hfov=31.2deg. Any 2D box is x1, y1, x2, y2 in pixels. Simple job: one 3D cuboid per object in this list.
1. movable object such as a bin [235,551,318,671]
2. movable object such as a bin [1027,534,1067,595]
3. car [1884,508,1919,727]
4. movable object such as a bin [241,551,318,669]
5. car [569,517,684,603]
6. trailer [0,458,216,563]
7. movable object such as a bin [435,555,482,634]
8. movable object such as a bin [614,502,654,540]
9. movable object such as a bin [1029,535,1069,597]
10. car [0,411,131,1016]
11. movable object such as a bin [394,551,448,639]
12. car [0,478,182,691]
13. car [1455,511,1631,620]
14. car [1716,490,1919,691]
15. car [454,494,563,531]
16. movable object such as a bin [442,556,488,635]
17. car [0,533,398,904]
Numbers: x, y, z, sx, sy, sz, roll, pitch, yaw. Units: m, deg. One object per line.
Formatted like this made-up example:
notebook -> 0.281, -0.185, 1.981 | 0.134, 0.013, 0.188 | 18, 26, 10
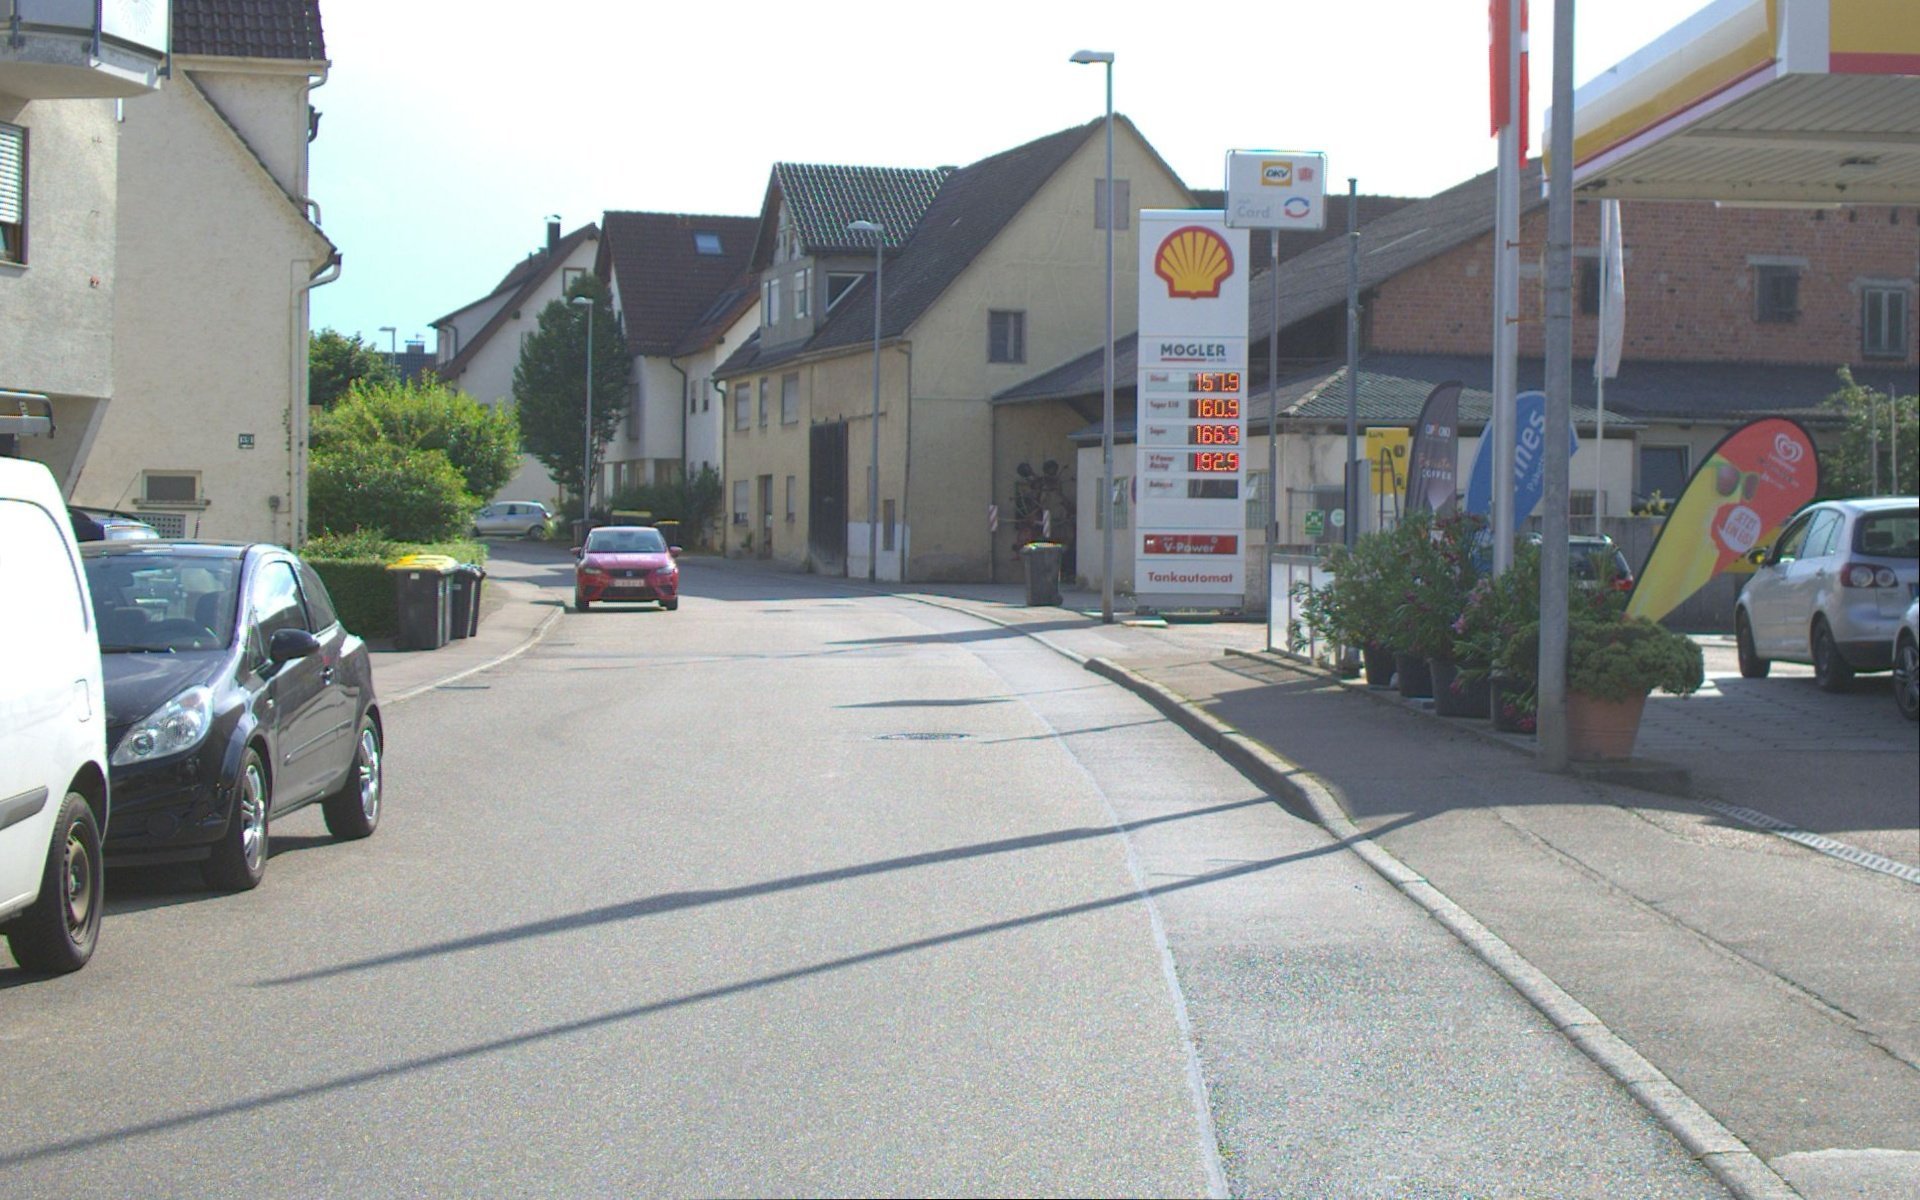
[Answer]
movable object such as a bin -> -6.318, 0.096, 31.783 | 0.599, 1.067, 0.619 | 3, 1, -1
movable object such as a bin -> 1.536, -0.632, 60.813 | 0.653, 1.069, 0.513 | 1, 1, -4
car -> 7.745, 0.167, 23.560 | 1.672, 1.572, 3.999 | 0, 2, -1
movable object such as a bin -> -6.425, 0.088, 32.466 | 0.570, 1.067, 0.557 | 3, 1, -1
car -> -5.864, -0.724, 60.195 | 1.708, 1.430, 3.781 | -1, 1, -10
trailer -> -8.555, -0.864, 33.401 | 1.331, 0.852, 2.889 | 3, 0, 16
movable object such as a bin -> -6.561, -0.076, 44.958 | 0.531, 1.019, 0.457 | -1, 1, -1
movable object such as a bin -> -10.339, -2.510, 109.037 | 1.160, 1.164, 0.655 | 0, 2, -13
movable object such as a bin -> 1.558, -0.600, 60.273 | 0.653, 1.069, 0.513 | 1, 1, -4
car -> -3.831, 0.369, 10.129 | 1.716, 1.866, 4.192 | 0, 1, 0
movable object such as a bin -> -6.754, -0.066, 43.116 | 0.588, 1.080, 0.508 | -1, 1, -1
car -> -8.551, -0.264, 27.680 | 3.989, 1.533, 1.762 | 5, 2, 11
car -> 8.286, -0.529, 49.197 | 1.578, 1.422, 4.382 | 1, 2, -2
car -> 7.698, -0.135, 29.055 | 1.672, 1.572, 3.999 | 0, 2, -1
car -> -16.987, -3.302, 129.186 | 3.986, 1.348, 1.711 | 0, 2, -9
movable object such as a bin -> -6.540, -0.065, 45.470 | 0.531, 1.019, 0.457 | -1, 1, -1
car -> -3.700, 0.432, 15.515 | 1.672, 1.446, 3.835 | 0, 1, 0
